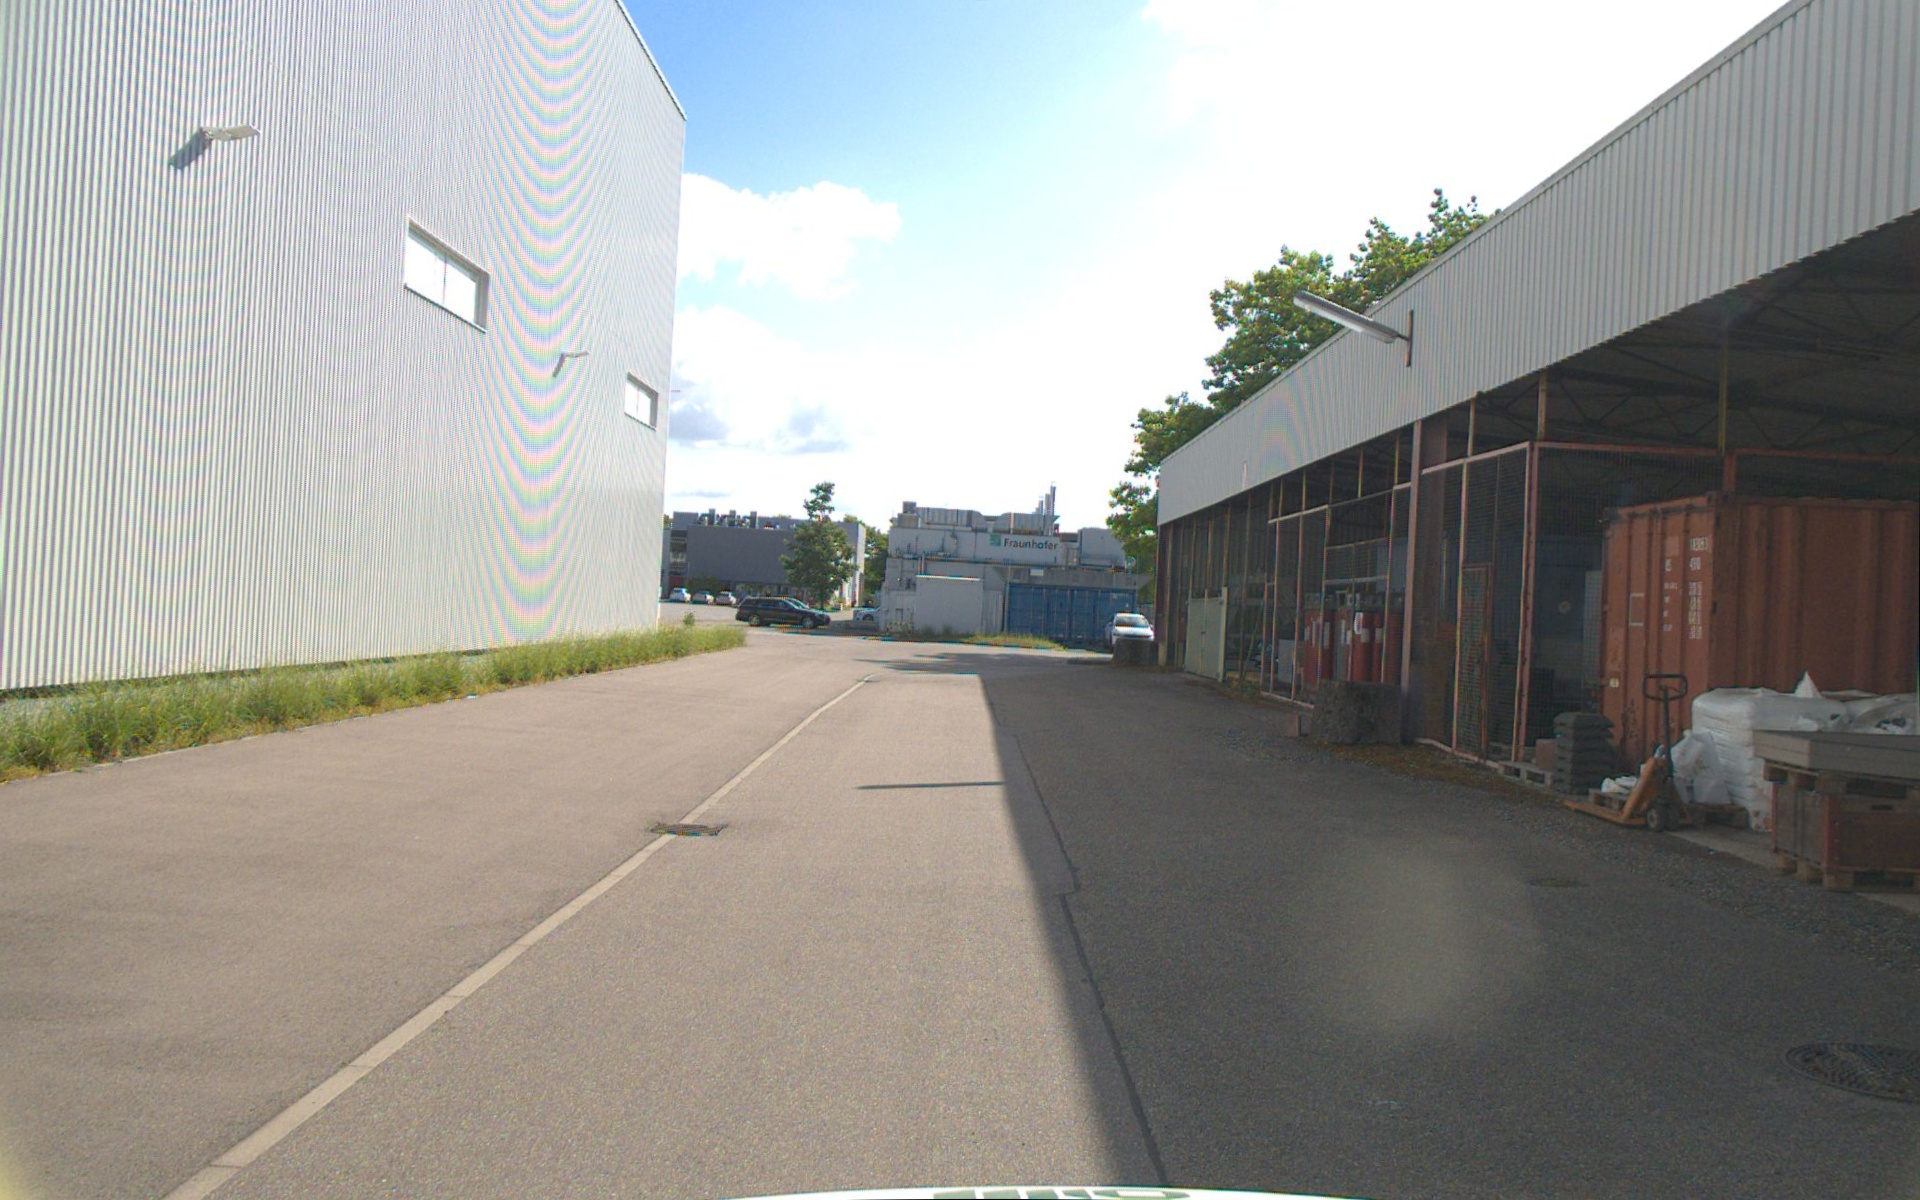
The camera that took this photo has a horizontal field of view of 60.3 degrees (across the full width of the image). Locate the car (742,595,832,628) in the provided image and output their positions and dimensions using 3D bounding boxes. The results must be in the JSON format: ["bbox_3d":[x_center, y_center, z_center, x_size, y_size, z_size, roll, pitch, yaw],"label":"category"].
[{"bbox_3d":[-9.100,0.608,87.153,4.432,1.534,1.909,2,0,1],"label":"car"}]

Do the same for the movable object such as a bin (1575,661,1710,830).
[{"bbox_3d":[5.246,1.091,12.777,0.569,1.185,1.238,2,0,4],"label":"movable object such as a bin"}]

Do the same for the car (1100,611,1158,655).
[{"bbox_3d":[7.263,1.386,71.301,1.953,1.613,4.172,3,1,-1],"label":"car"}]

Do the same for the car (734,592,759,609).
[{"bbox_3d":[-23.127,0.058,179.211,2.149,1.766,3.999,1,-1,-1],"label":"car"}]

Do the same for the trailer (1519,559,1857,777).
[{"bbox_3d":[7.878,0.678,18.362,1.818,2.094,4.098,2,0,-1],"label":"trailer"}]

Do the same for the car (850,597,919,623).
[{"bbox_3d":[-5.060,0.646,111.549,4.433,1.534,1.909,3,0,1],"label":"car"}]

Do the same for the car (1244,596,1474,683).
[{"bbox_3d":[9.842,0.964,41.041,5.136,1.909,1.997,2,0,-6],"label":"car"}]

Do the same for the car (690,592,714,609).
[{"bbox_3d":[-28.170,0.029,180.532,1.953,1.766,3.999,1,-1,-1],"label":"car"}]

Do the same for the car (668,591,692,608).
[{"bbox_3d":[-30.616,-0.019,180.861,1.953,1.766,3.999,1,-1,-1],"label":"car"}]

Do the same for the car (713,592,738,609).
[{"bbox_3d":[-25.637,0.055,180.898,2.149,1.766,3.999,1,-1,-1],"label":"car"}]

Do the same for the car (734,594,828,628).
[{"bbox_3d":[-9.058,0.573,83.916,4.432,1.534,1.909,2,0,1],"label":"car"}]
